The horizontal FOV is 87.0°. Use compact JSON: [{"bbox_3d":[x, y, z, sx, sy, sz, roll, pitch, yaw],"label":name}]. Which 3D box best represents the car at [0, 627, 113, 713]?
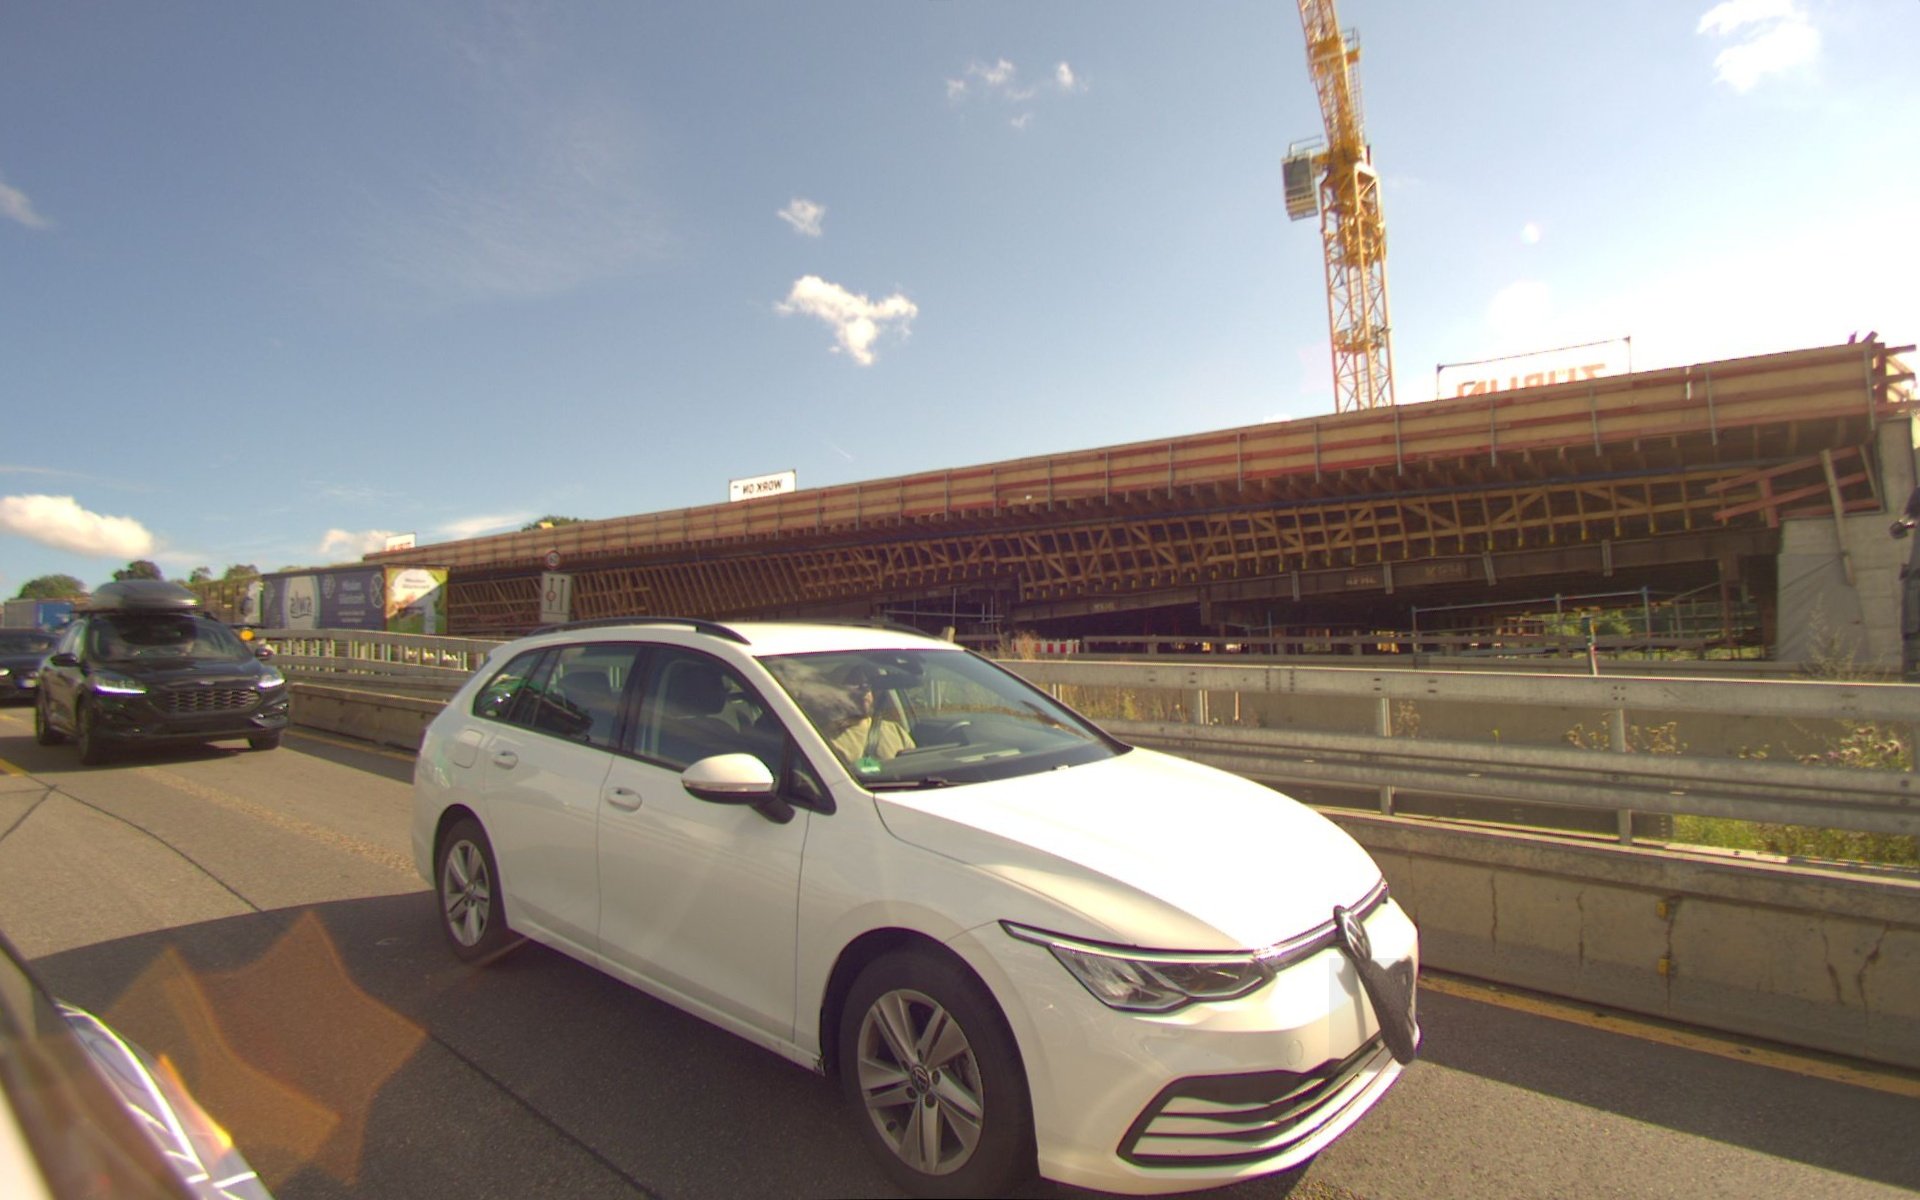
[{"bbox_3d":[-18.179,1.278,19.569,4.500,1.441,1.925,0,-1,39],"label":"car"}]

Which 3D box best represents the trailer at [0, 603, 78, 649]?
[{"bbox_3d":[-78.880,2.166,86.523,13.513,3.694,2.835,-1,-1,39],"label":"trailer"}]

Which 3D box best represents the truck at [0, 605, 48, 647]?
[{"bbox_3d":[-84.215,2.296,90.783,4.805,3.656,2.814,-1,-1,39],"label":"truck"}]

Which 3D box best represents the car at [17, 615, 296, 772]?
[{"bbox_3d":[-9.739,1.012,12.140,4.381,1.554,1.781,-2,-3,40],"label":"car"}]

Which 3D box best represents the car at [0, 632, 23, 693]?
[{"bbox_3d":[-25.786,1.595,26.035,4.404,1.441,1.925,0,0,40],"label":"car"}]

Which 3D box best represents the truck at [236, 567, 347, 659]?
[{"bbox_3d":[-32.207,0.608,48.708,5.962,4.169,2.686,-1,-1,38],"label":"truck"}]

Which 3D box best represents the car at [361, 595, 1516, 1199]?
[{"bbox_3d":[-0.537,0.781,3.964,4.514,1.502,1.751,0,-2,41],"label":"car"}]

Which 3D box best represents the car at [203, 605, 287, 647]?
[{"bbox_3d":[-31.478,1.114,44.520,4.321,1.780,1.905,-1,-1,39],"label":"car"}]

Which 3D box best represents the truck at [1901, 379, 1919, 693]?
[{"bbox_3d":[14.631,-0.803,11.173,2.744,3.817,6.024,1,-1,-43],"label":"truck"}]

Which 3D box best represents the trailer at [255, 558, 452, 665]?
[{"bbox_3d":[-27.168,0.524,44.807,13.791,4.187,2.662,-1,-1,38],"label":"trailer"}]
